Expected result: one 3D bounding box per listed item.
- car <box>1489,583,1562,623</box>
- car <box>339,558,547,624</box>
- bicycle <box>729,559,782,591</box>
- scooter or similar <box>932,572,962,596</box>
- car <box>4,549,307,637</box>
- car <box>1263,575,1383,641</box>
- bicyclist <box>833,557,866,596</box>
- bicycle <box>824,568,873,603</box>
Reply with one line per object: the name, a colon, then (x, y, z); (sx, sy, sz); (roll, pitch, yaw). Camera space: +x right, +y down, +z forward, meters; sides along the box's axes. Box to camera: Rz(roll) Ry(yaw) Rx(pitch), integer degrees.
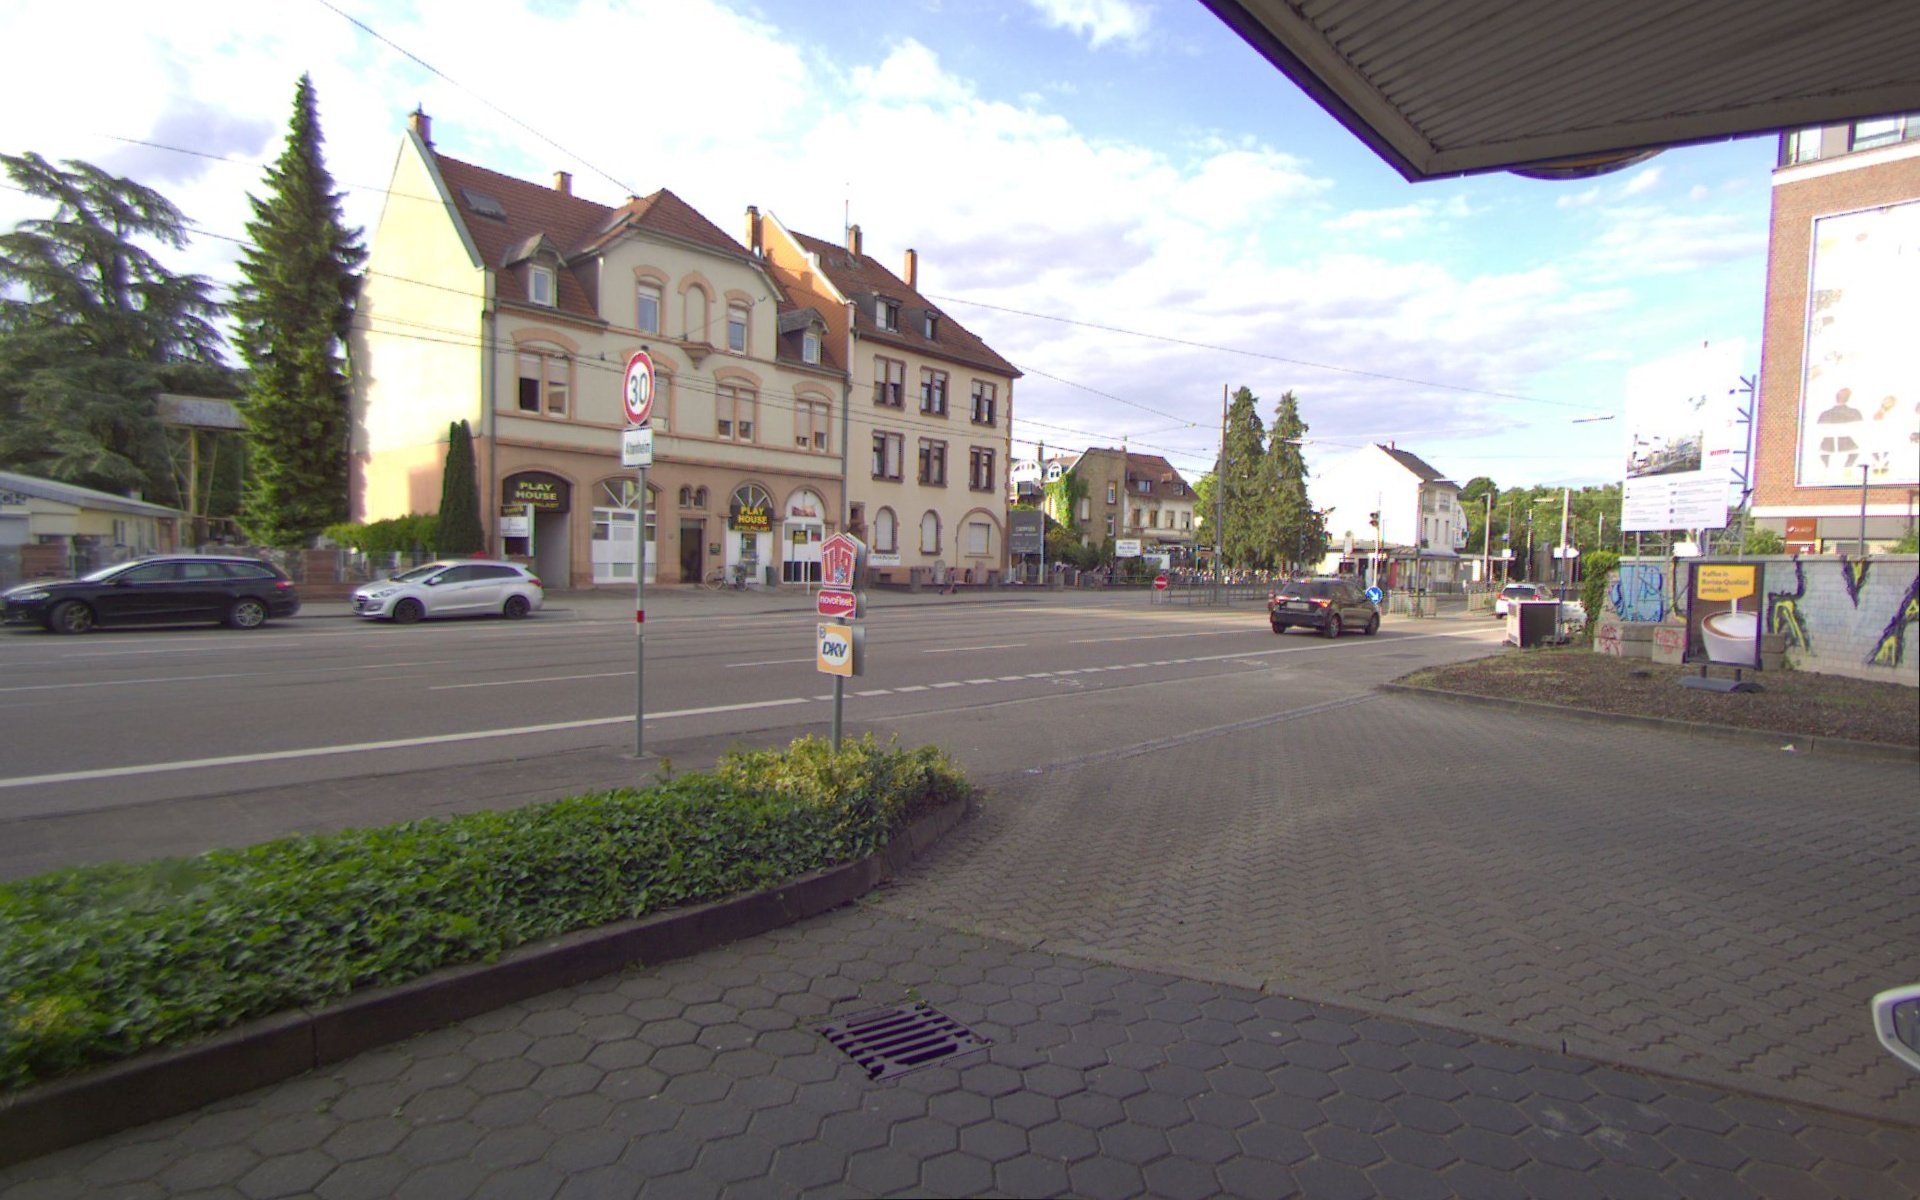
car: (22.522, 0.075, 39.964); (1.649, 1.419, 3.687); (5, 4, 43)
car: (-12.943, -0.249, 25.360); (1.718, 1.502, 4.357); (3, 2, 41)
bicycle: (-8.262, -1.002, 40.631); (0.741, 1.219, 2.011); (8, 5, 41)
scooter or similar: (-0.581, -0.715, 45.097); (0.437, 1.006, 1.460); (6, 5, 41)
car: (-16.501, -0.173, 20.821); (1.827, 1.542, 4.642); (5, 4, 40)
car: (9.845, 0.171, 27.126); (1.649, 1.568, 3.687); (5, 4, 43)
bicyclist: (-4.208, -0.905, 38.230); (0.741, 1.428, 0.917); (8, 6, 39)
bicycle: (-4.245, -0.558, 38.221); (0.741, 1.219, 1.812); (8, 6, 39)
